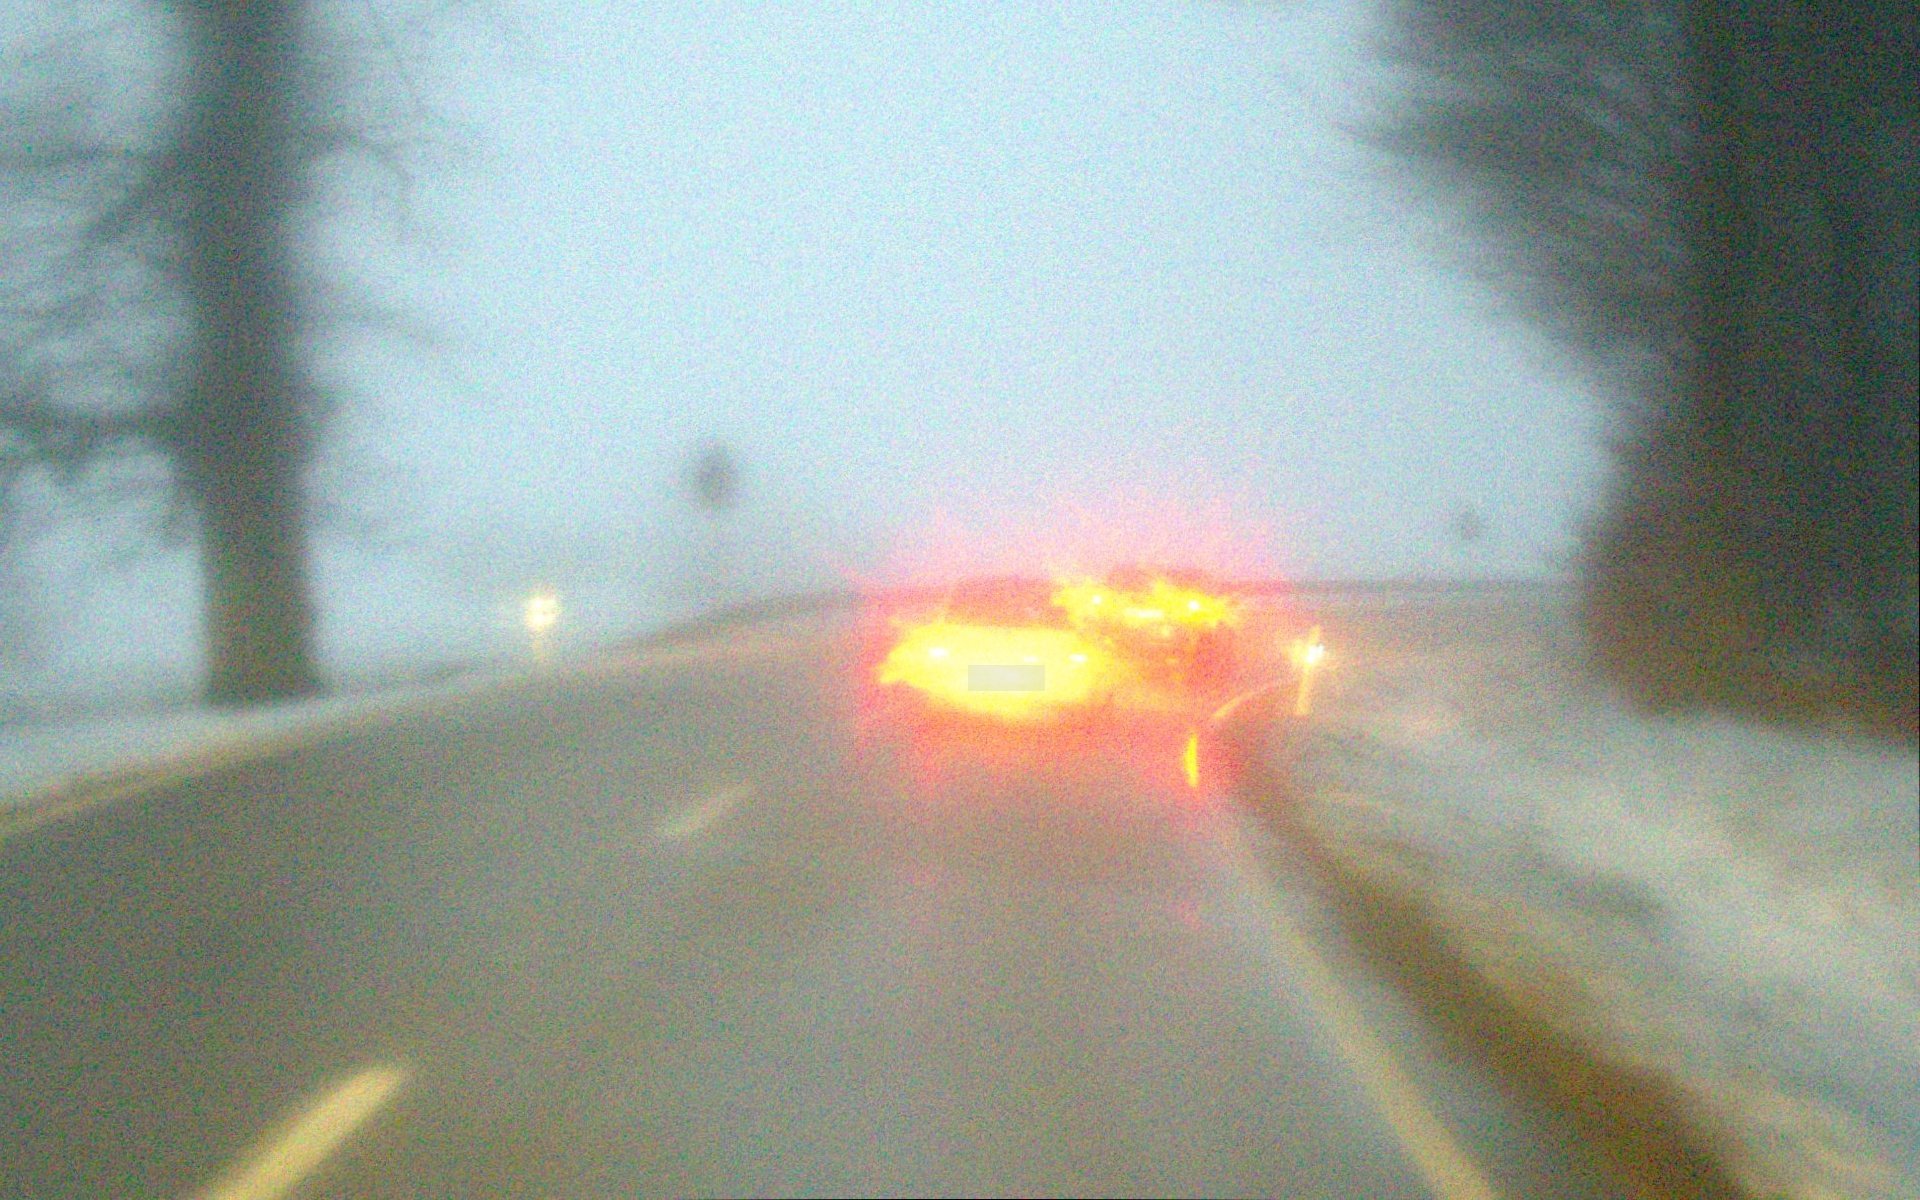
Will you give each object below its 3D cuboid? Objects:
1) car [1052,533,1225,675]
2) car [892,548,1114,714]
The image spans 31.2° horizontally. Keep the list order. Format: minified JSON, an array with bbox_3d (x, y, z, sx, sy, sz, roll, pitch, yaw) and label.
[{"bbox_3d":[2.376,0.014,46.688,1.993,1.776,4.001,1,2,-1],"label":"car"},{"bbox_3d":[0.401,0.245,32.253,1.946,1.376,4.000,0,2,1],"label":"car"}]
